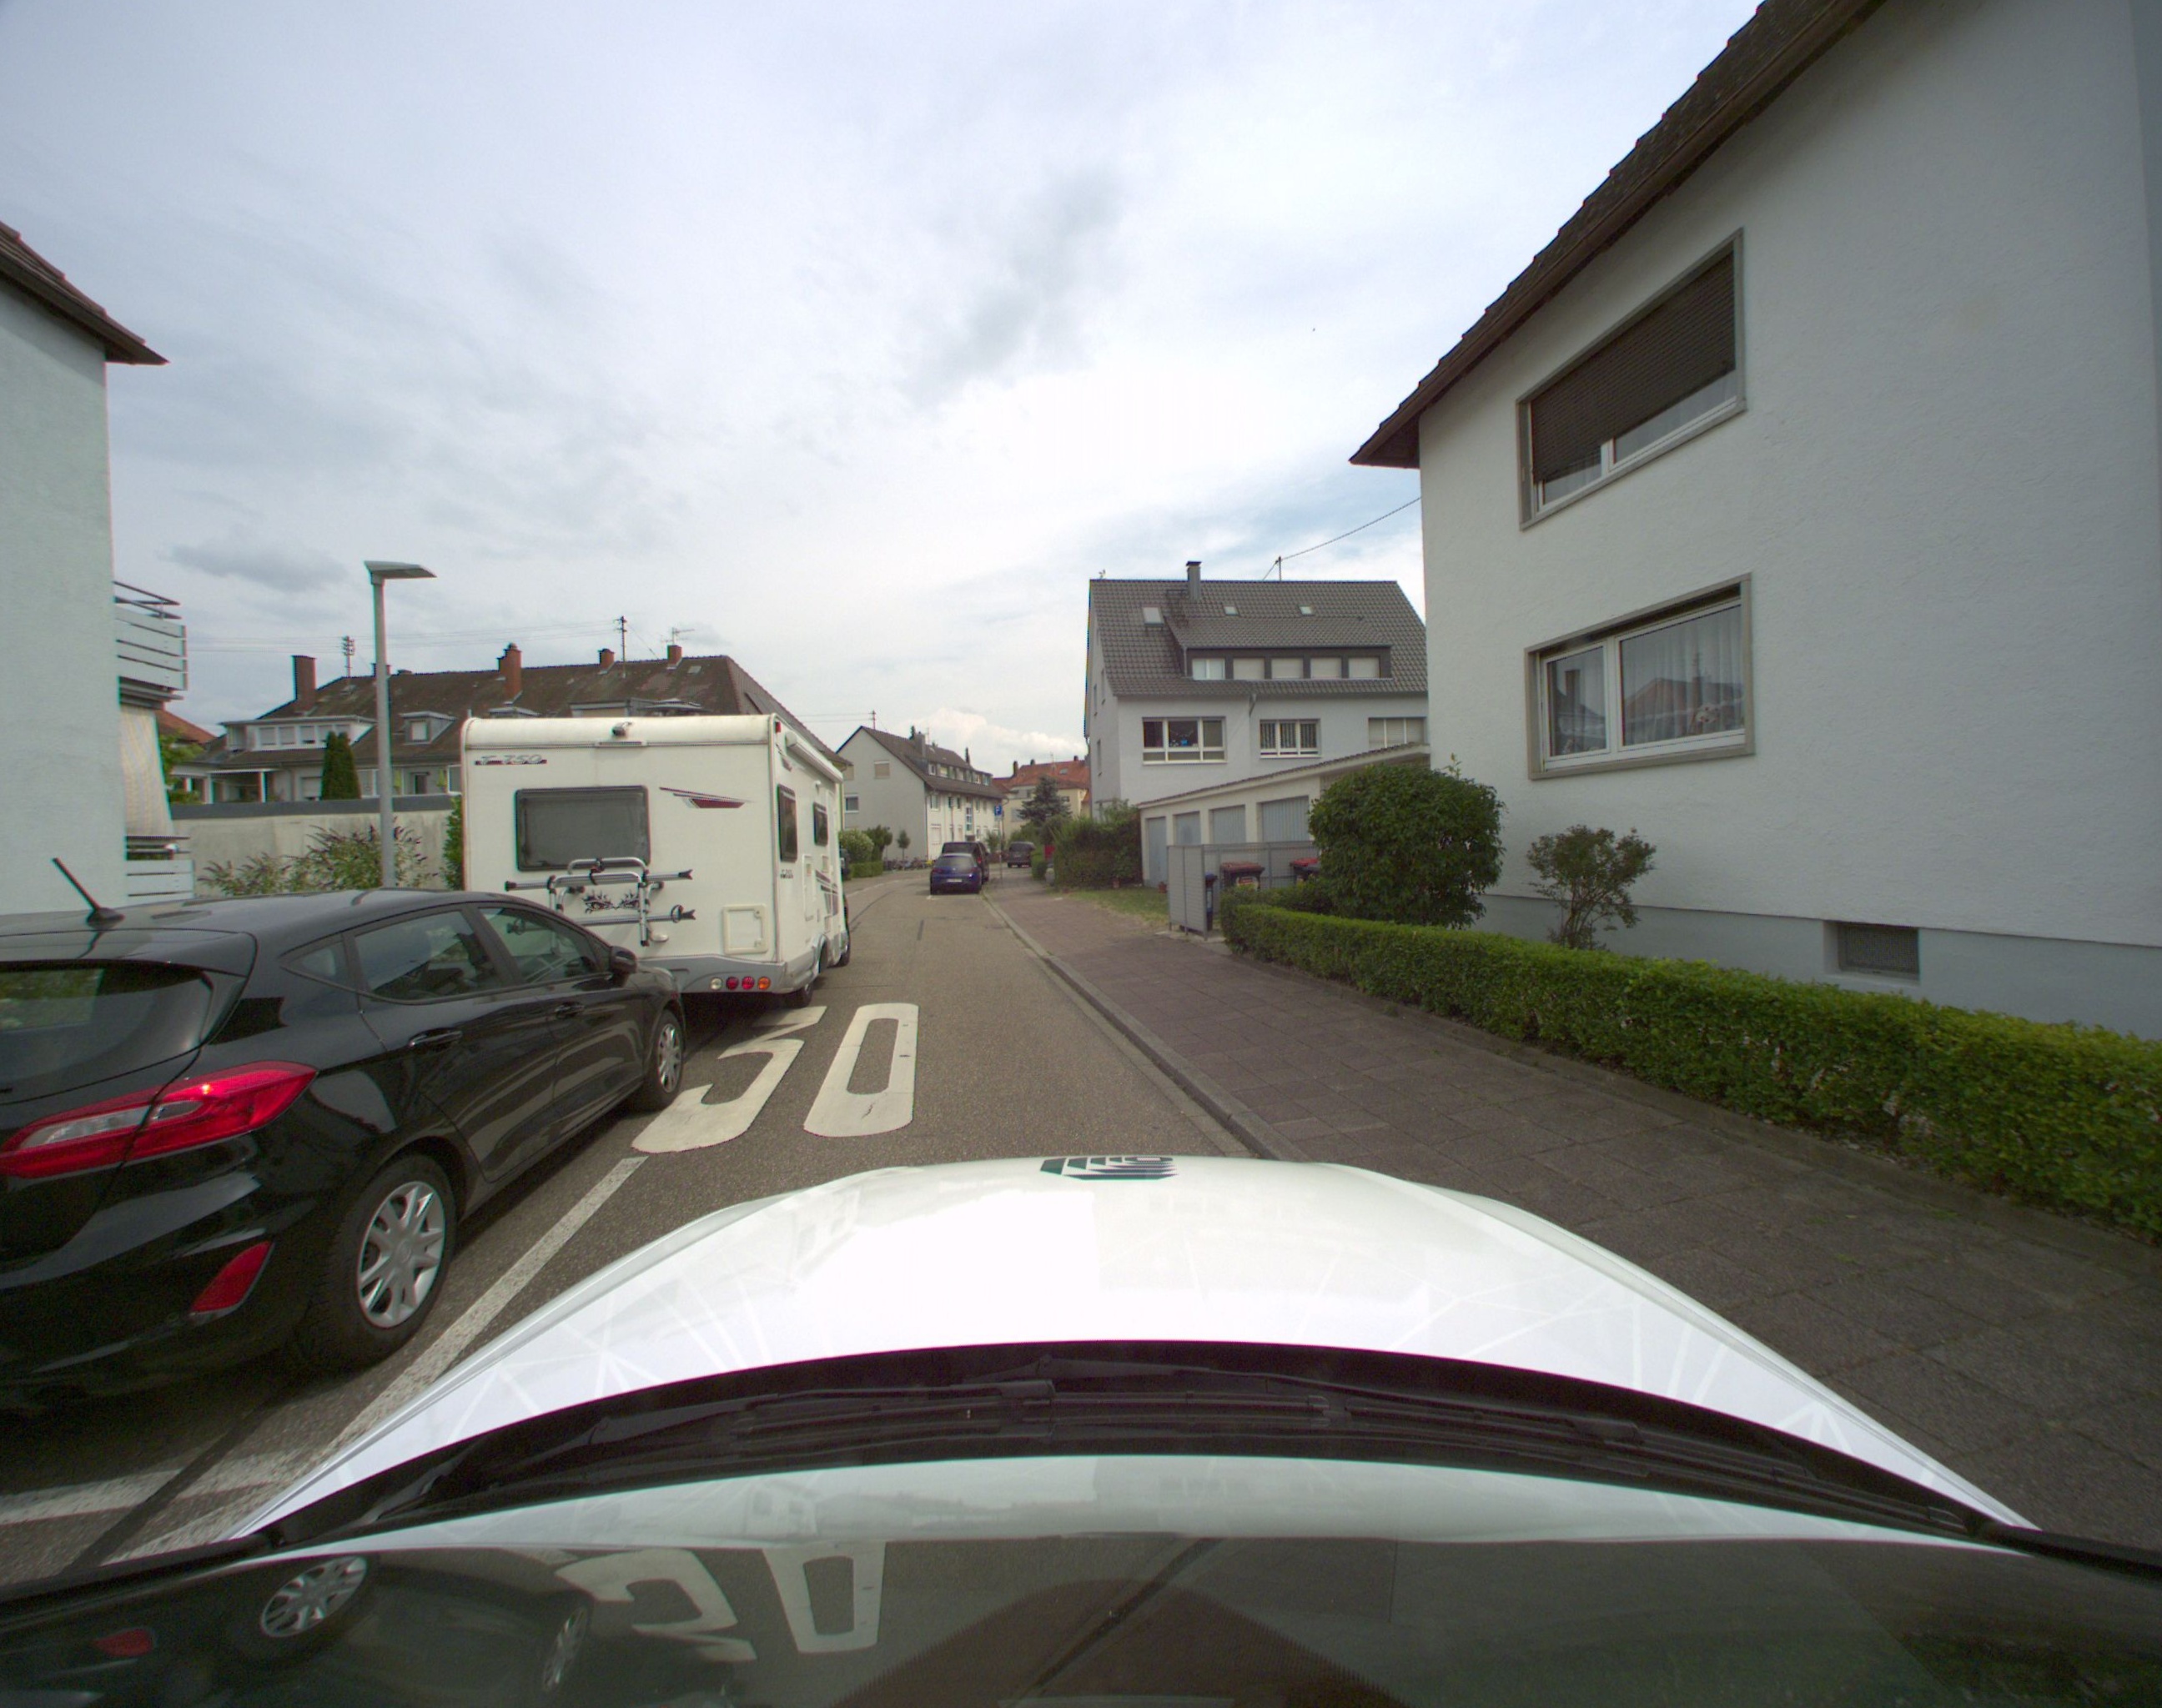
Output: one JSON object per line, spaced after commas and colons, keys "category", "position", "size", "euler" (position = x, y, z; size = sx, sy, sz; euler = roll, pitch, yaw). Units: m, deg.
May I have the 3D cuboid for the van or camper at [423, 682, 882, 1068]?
{"category": "van or camper", "position": [-3.845, 0.195, 9.013], "size": [2.402, 2.725, 6.146], "euler": [-2, -1, -7]}

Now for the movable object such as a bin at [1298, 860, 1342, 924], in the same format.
{"category": "movable object such as a bin", "position": [3.762, 0.588, 12.837], "size": [0.453, 0.973, 0.505], "euler": [-2, -2, -10]}

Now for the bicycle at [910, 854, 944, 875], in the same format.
{"category": "bicycle", "position": [-11.520, 0.772, 60.795], "size": [2.362, 1.460, 0.712], "euler": [-1, -2, -33]}

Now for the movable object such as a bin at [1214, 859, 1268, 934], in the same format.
{"category": "movable object such as a bin", "position": [2.571, 0.677, 13.144], "size": [0.580, 1.137, 0.752], "euler": [-2, -2, -10]}

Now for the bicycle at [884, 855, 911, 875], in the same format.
{"category": "bicycle", "position": [-13.432, 0.831, 59.700], "size": [1.841, 1.373, 0.666], "euler": [-2, -2, -23]}

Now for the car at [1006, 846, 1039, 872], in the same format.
{"category": "car", "position": [-4.171, 0.390, 58.669], "size": [1.847, 1.742, 4.347], "euler": [-2, -1, 2]}

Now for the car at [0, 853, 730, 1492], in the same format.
{"category": "car", "position": [-3.060, 0.794, 3.667], "size": [1.657, 1.422, 3.759], "euler": [-2, -1, -7]}

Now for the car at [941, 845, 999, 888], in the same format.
{"category": "car", "position": [-4.940, 0.570, 36.833], "size": [1.847, 1.742, 4.347], "euler": [-2, -1, 2]}

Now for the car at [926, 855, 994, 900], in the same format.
{"category": "car", "position": [-4.320, 0.841, 29.655], "size": [1.716, 1.452, 4.001], "euler": [-2, -1, 2]}

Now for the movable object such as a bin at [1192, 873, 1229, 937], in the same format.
{"category": "movable object such as a bin", "position": [2.054, 0.796, 12.940], "size": [0.389, 0.973, 0.513], "euler": [-2, -2, -10]}

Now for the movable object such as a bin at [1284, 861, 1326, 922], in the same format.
{"category": "movable object such as a bin", "position": [3.686, 0.610, 13.425], "size": [0.453, 0.973, 0.505], "euler": [-2, -2, -10]}
